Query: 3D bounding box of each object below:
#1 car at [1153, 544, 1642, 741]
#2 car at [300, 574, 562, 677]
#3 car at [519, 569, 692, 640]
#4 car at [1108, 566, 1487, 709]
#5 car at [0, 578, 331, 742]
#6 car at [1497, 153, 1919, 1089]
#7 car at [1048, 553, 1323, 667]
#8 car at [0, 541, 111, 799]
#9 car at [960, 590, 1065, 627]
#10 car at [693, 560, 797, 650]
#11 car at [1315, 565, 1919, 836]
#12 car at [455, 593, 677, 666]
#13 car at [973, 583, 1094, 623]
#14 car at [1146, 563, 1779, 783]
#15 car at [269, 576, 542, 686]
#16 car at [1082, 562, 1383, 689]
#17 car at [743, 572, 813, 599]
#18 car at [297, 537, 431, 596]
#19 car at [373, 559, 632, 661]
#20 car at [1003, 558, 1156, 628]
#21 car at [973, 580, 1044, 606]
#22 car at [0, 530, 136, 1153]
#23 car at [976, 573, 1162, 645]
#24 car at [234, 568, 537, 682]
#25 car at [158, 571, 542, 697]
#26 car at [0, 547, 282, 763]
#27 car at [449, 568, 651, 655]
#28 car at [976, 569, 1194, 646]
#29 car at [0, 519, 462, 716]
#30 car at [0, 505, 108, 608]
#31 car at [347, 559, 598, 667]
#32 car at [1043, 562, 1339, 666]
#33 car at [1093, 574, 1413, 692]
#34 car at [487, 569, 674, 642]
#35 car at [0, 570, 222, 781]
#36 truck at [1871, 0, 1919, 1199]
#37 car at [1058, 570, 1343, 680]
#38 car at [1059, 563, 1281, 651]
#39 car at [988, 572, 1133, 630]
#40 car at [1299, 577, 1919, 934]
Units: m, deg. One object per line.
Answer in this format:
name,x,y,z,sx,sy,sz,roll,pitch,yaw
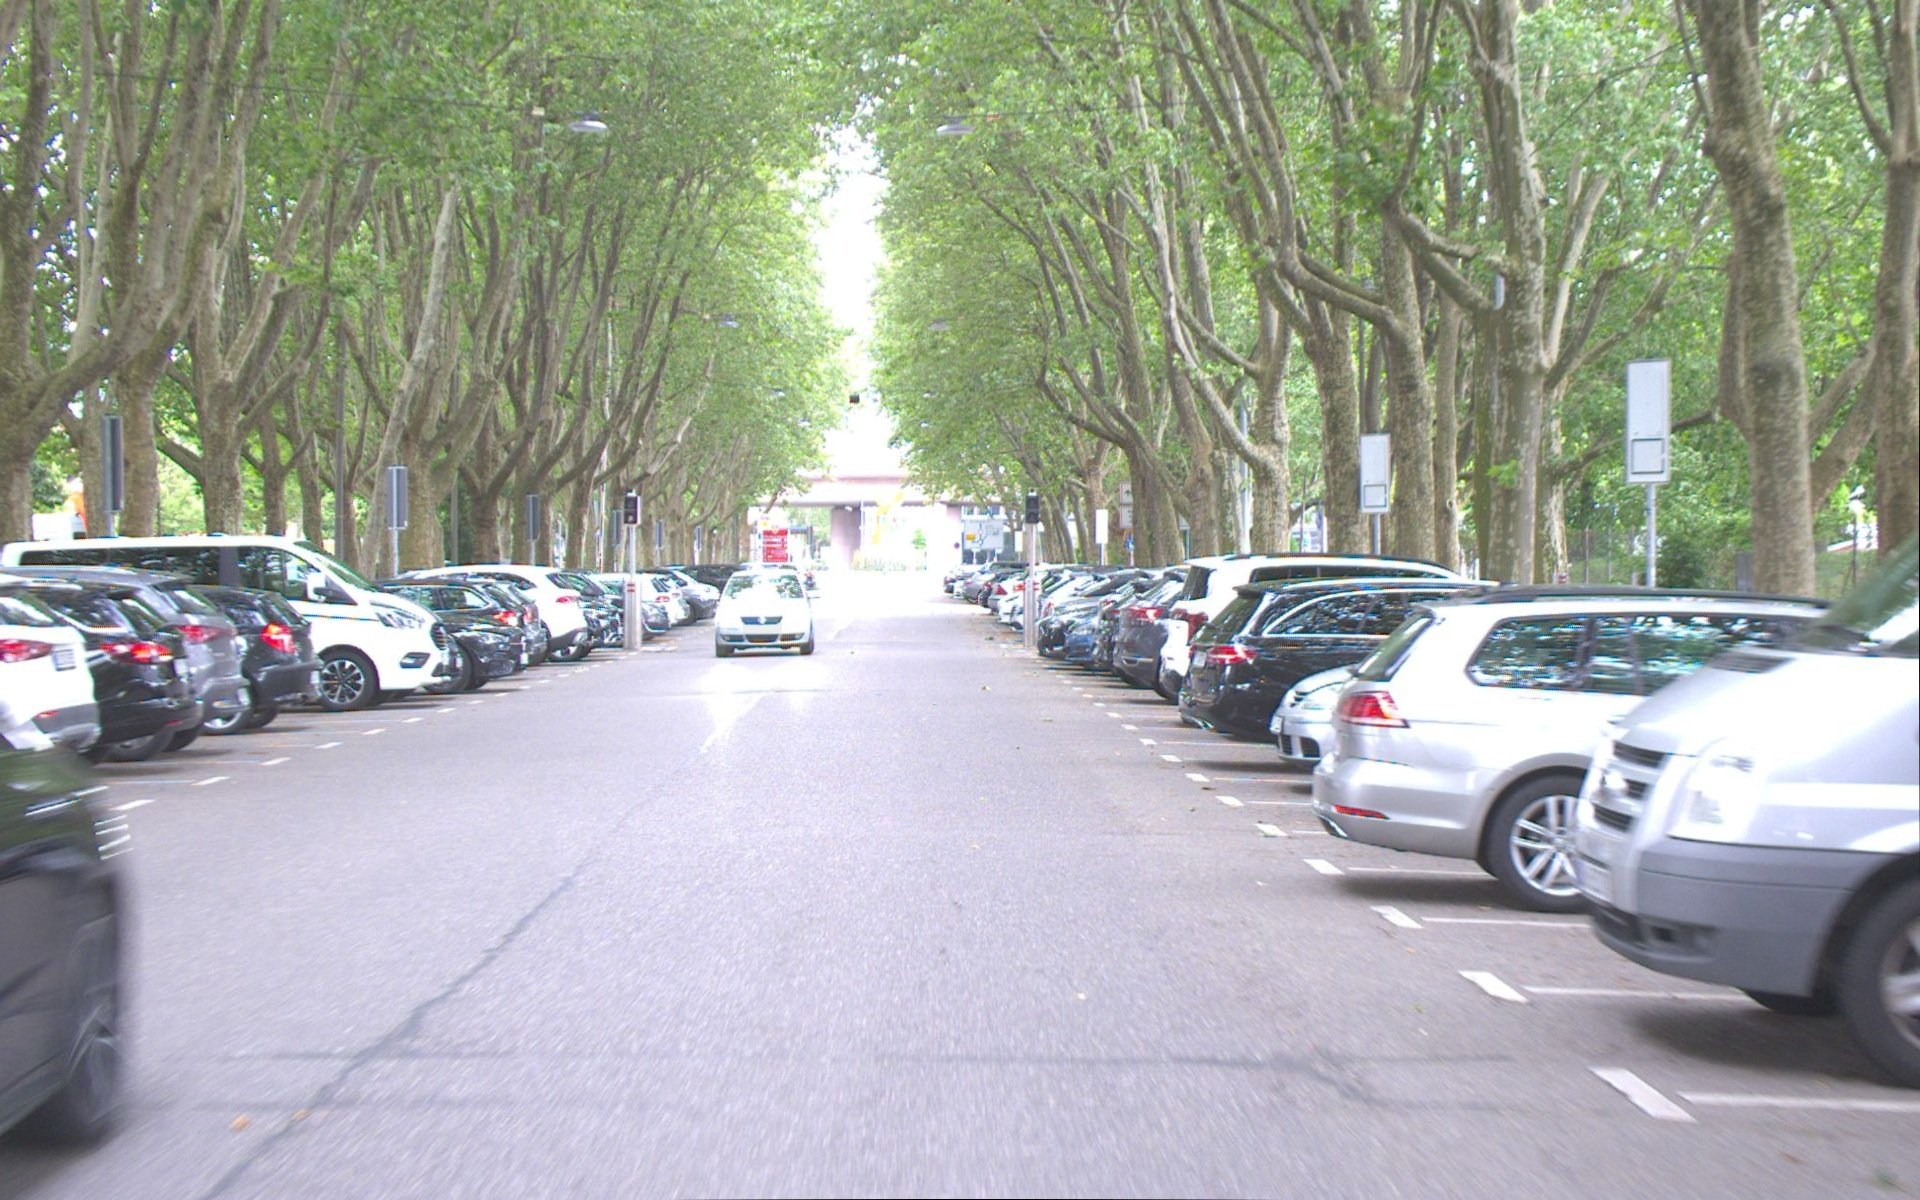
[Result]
car,4.154,0.389,33.115,4.384,1.749,1.801,1,0,-2
car,-8.137,0.377,53.071,3.826,1.466,1.694,-1,1,-3
car,-8.070,0.092,78.430,3.826,1.492,1.694,-1,1,-3
car,3.730,0.407,38.402,3.986,1.481,1.694,1,0,-2
car,-8.154,0.579,32.851,3.986,1.408,1.683,-2,1,-3
car,4.513,0.121,10.916,5.228,2.680,1.957,2,0,0
car,3.460,0.145,53.335,4.113,1.664,1.694,1,0,0
car,-8.152,0.526,23.196,4.340,1.662,2.000,-2,1,-2
car,2.159,0.342,140.124,4.176,1.437,1.731,1,0,4
car,-3.693,0.065,59.416,1.688,1.466,3.840,-1,1,-2
car,4.344,0.595,21.137,4.044,1.521,1.815,1,0,-2
car,-8.033,0.589,70.403,4.400,1.360,1.694,-1,1,-3
car,2.854,0.111,132.883,4.575,1.481,2.000,1,0,4
car,3.763,0.532,26.234,4.501,1.521,1.703,1,0,-2
car,-8.214,0.445,51.154,3.755,1.469,1.865,-2,1,-2
car,3.626,0.329,46.194,3.826,1.602,1.694,1,0,-2
car,-10.329,-0.821,195.066,3.814,1.510,1.686,1,0,3
car,-23.967,-1.353,138.331,5.077,2.224,1.536,1,0,-2
car,-7.709,0.153,58.180,4.068,1.602,1.799,-1,1,2
car,2.978,-0.173,86.053,3.645,1.661,1.519,1,0,-4
car,3.001,-0.451,214.631,4.376,1.517,1.731,1,0,0
car,-2.921,0.559,7.178,1.654,1.359,4.113,-2,1,-4
car,2.536,0.200,80.856,4.166,1.591,1.855,1,0,-4
car,-7.976,0.334,47.970,3.995,1.466,1.537,-1,1,-3
car,-7.653,0.414,43.371,4.449,1.447,1.774,-1,0,4
car,-8.005,0.478,28.582,4.340,1.662,2.000,-2,1,-2
car,-8.080,0.214,67.980,3.826,1.602,1.694,-1,1,-3
car,2.553,0.147,70.794,4.296,1.465,1.624,1,0,-4
car,-8.131,0.182,38.251,4.893,2.012,1.920,-2,0,-1
car,-25.187,-1.149,88.919,5.786,2.588,2.000,1,0,0
car,-7.825,0.196,55.482,3.826,1.622,1.953,-1,1,-3
car,3.411,0.199,51.237,4.211,1.446,1.611,1,0,-2
car,3.681,0.406,43.579,3.826,1.384,1.694,1,0,-2
car,-8.039,0.108,73.036,3.826,1.425,1.694,-1,1,-3
car,-7.721,0.592,25.761,3.986,1.470,1.843,-2,1,-3
truck,4.993,0.184,5.815,6.293,2.706,2.098,1,0,-1
car,3.362,0.340,48.566,3.826,1.450,1.694,1,0,-2
car,3.708,0.119,60.999,3.775,1.465,1.667,1,0,-1
car,2.642,0.018,91.199,3.645,1.419,1.986,1,0,-4
car,3.732,0.721,15.879,4.120,1.424,1.703,3,0,1
